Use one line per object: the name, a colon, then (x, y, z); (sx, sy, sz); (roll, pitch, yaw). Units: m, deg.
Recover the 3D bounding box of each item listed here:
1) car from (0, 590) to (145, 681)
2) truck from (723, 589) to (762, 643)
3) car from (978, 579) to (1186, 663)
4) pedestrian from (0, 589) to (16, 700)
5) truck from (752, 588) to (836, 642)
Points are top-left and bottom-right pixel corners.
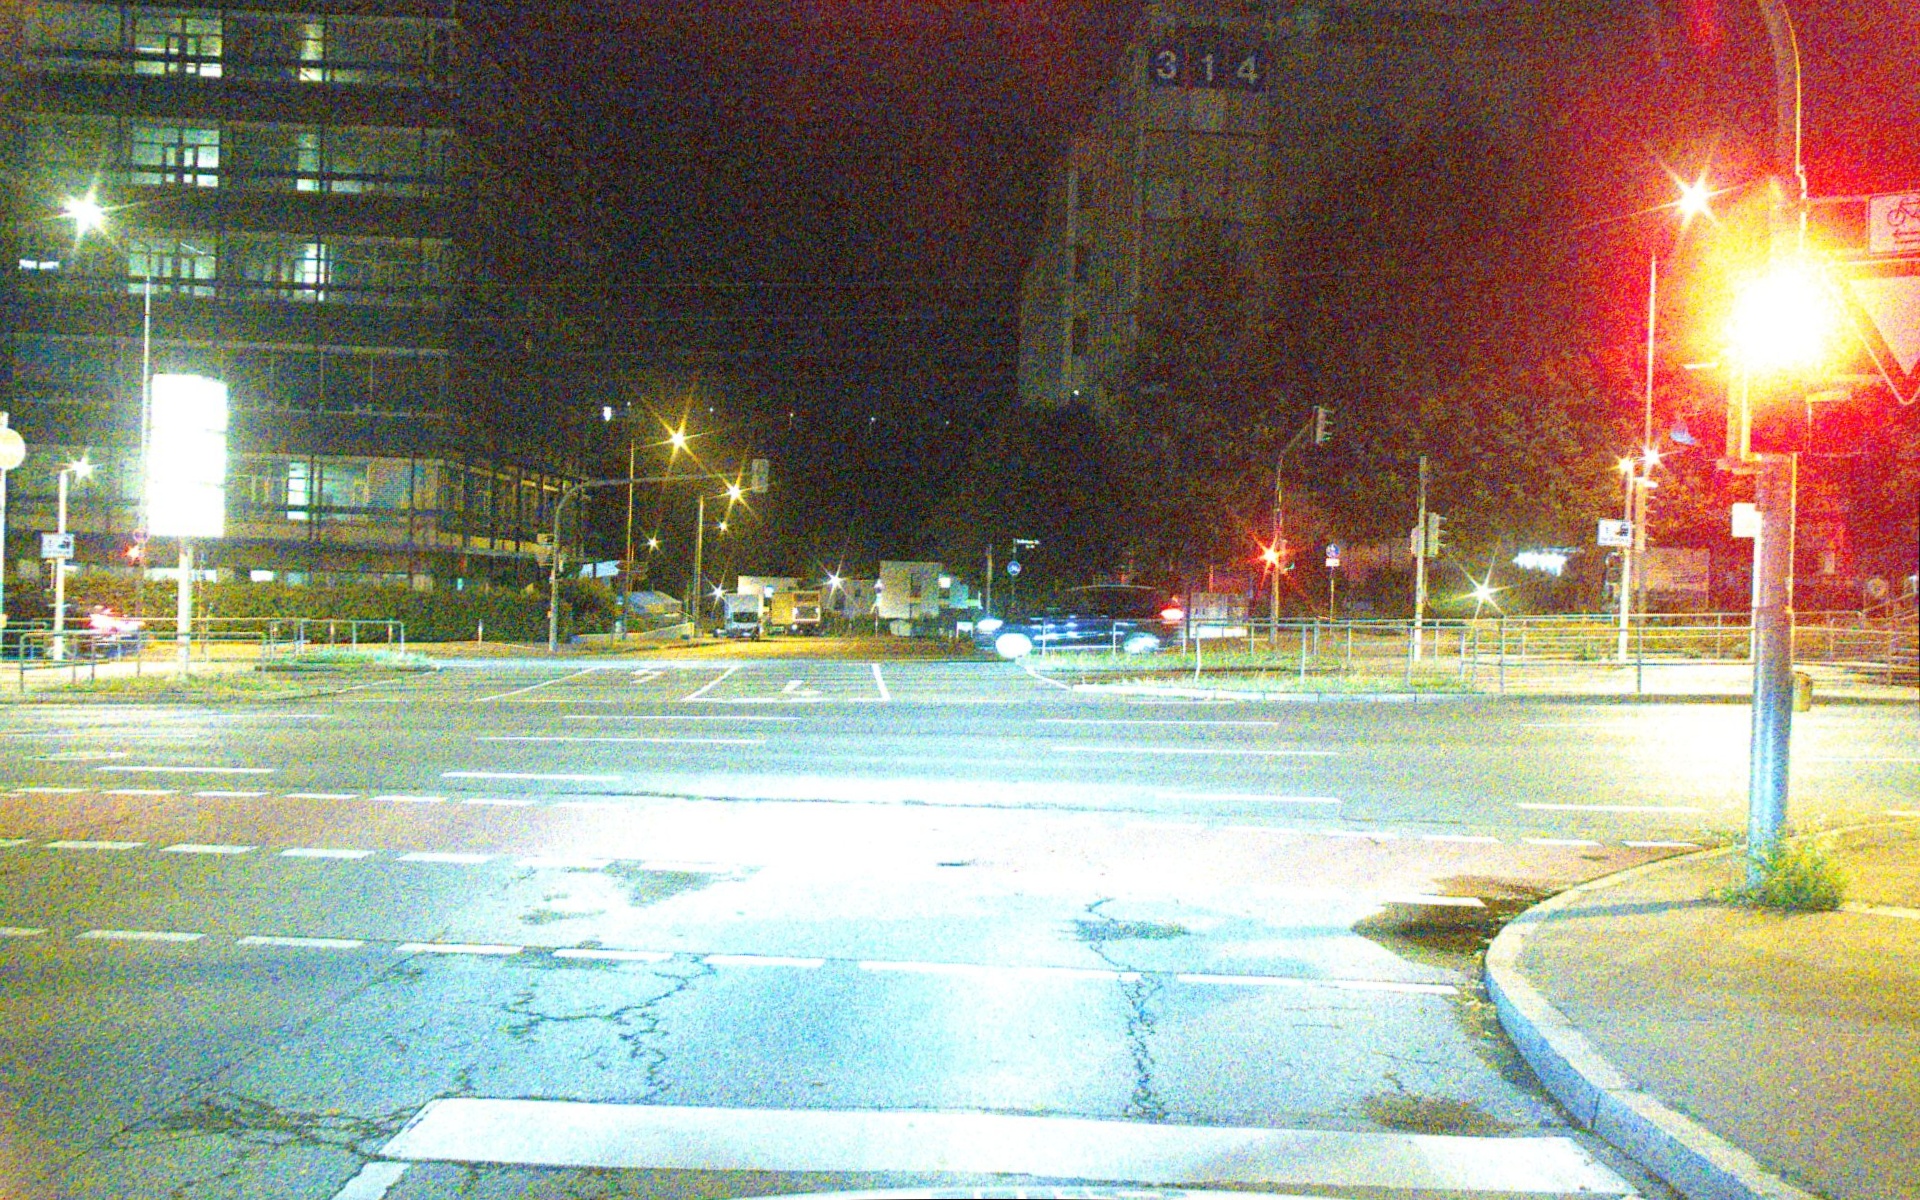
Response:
car: (-21.466, 0.786, 38.332); (4.095, 2.009, 2.000); (1, 0, 2)
truck: (-15.668, 1.136, 119.002); (2.535, 3.772, 5.724); (1, 0, -9)
car: (2.723, 0.460, 37.256); (4.521, 1.759, 2.001); (1, 0, 3)
pedestrian: (-14.669, 0.656, 24.689); (0.656, 1.663, 0.862); (2, -1, -5)
truck: (-15.293, 1.300, 150.975); (4.751, 4.627, 12.593); (1, 0, -19)
